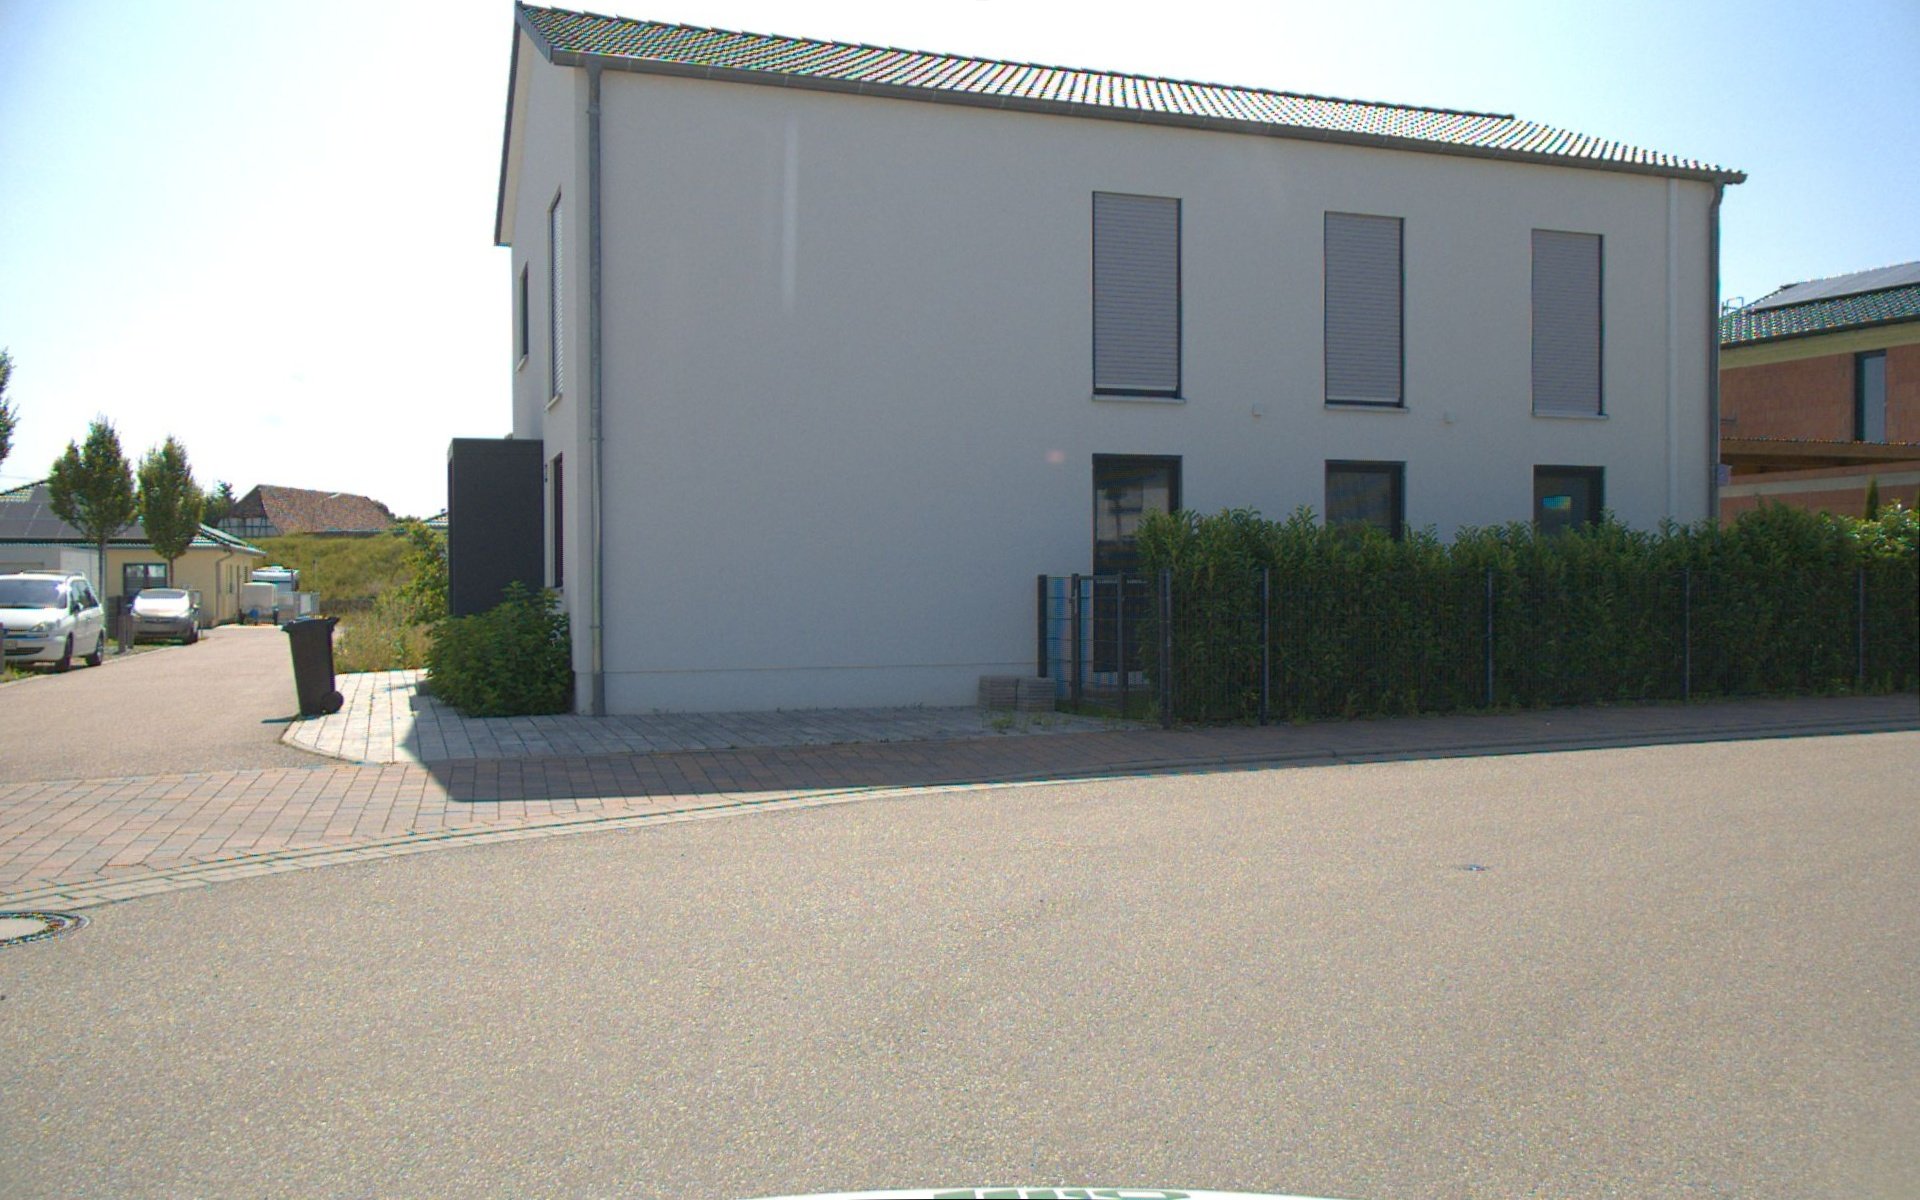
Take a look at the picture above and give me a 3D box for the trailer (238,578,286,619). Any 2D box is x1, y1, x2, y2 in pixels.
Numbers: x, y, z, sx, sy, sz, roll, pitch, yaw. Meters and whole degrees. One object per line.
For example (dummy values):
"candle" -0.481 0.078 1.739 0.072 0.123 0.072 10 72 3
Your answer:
"trailer" -29.275 -0.056 69.374 1.602 1.642 2.548 1 -1 -18

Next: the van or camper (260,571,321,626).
"van or camper" -30.950 -0.039 76.556 2.228 2.453 4.819 1 -1 -18

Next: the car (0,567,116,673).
"car" -17.165 0.350 30.634 1.963 1.821 4.623 1 -1 -18

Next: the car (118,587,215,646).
"car" -23.429 0.479 48.974 1.963 1.642 4.461 1 -1 -18

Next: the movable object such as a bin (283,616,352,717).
"movable object such as a bin" -6.467 0.660 16.672 0.591 0.965 0.498 -2 1 -19
